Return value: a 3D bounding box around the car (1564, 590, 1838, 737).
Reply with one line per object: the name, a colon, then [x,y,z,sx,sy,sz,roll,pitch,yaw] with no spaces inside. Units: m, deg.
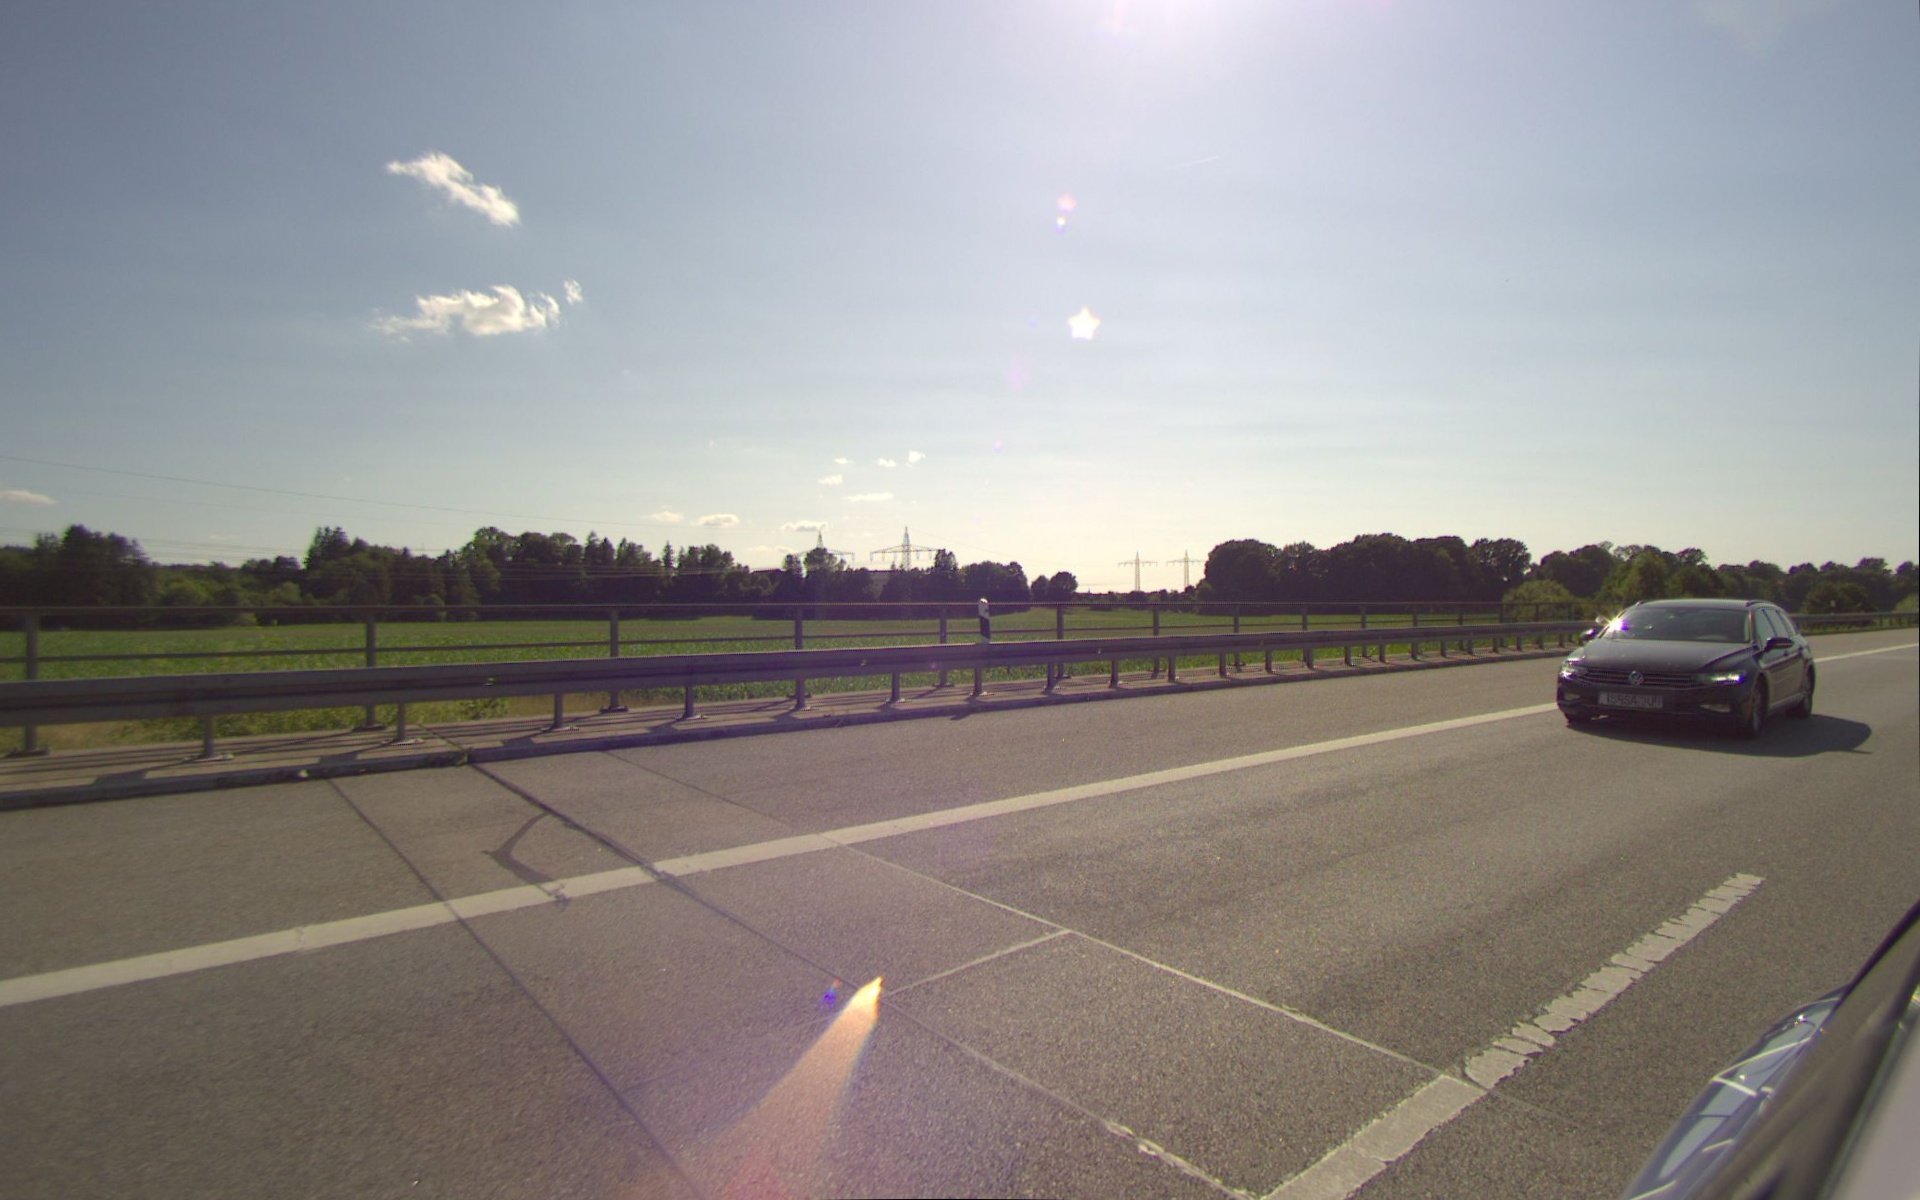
car: [8.939,0.605,12.064,4.337,1.417,1.721,-1,1,-41]
